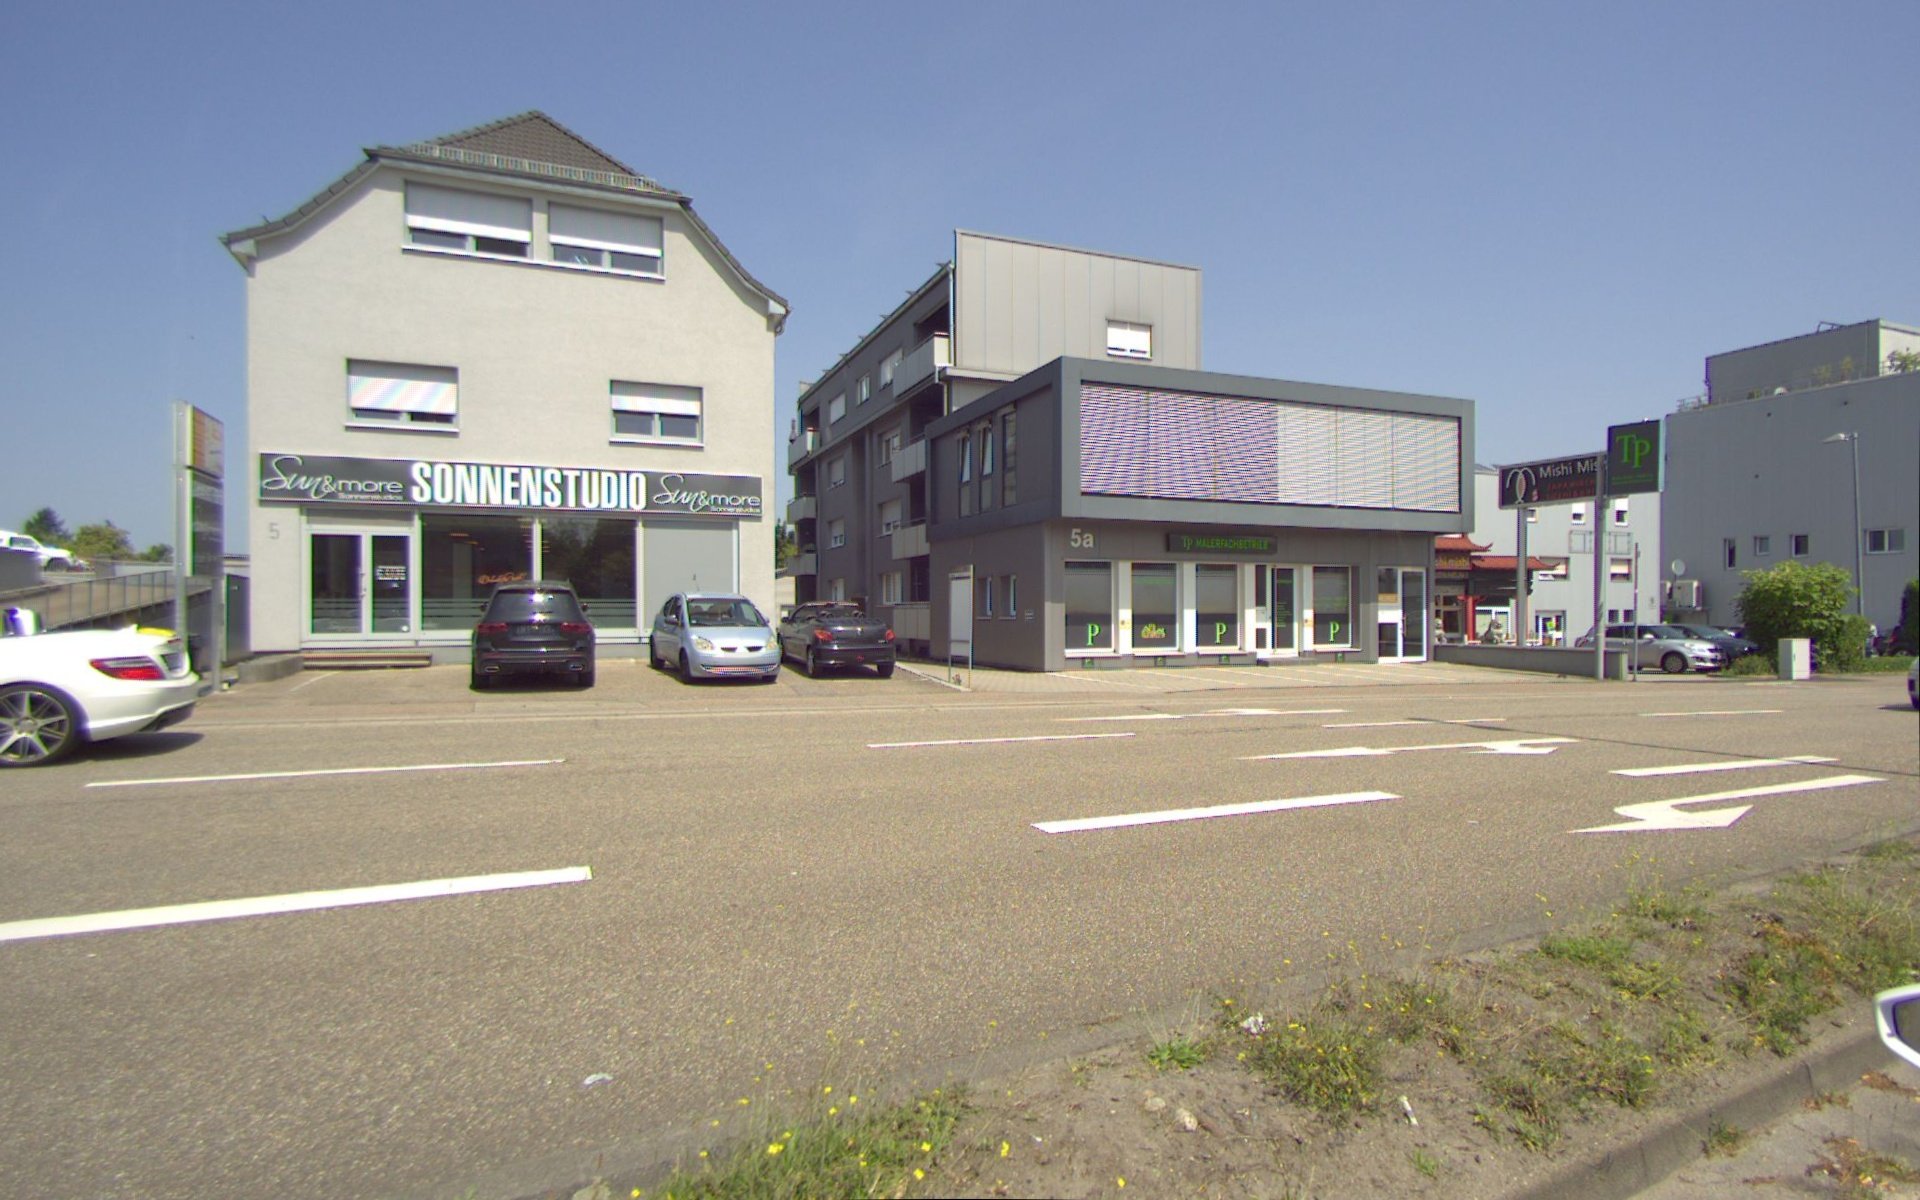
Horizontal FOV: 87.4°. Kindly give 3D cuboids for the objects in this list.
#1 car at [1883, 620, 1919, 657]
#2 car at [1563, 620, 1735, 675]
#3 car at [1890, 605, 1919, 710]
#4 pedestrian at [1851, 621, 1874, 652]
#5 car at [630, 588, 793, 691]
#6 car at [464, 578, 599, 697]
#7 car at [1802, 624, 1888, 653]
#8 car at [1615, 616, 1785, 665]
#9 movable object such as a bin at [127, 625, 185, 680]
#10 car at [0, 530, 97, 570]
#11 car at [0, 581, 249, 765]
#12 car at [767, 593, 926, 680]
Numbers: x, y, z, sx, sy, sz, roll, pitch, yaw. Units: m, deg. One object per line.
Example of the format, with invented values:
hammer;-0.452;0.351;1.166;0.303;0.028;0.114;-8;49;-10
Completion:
car;36.724;1.407;36.591;2.015;1.360;4.137;0;-2;-25
car;20.427;1.376;29.945;1.556;1.478;3.972;2;-2;-27
car;17.099;0.920;16.167;4.283;1.650;1.774;1;-2;-27
pedestrian;48.041;1.926;53.472;0.710;1.609;0.606;2;0;-24
car;-4.807;0.626;18.894;1.732;1.517;4.582;1;3;-30
car;-7.263;0.516;17.115;1.828;1.649;4.594;1;2;-23
car;47.888;2.105;54.363;3.943;1.390;1.989;2;0;-23
car;22.850;1.253;31.191;1.643;1.389;3.992;-1;-2;-20
movable object such as a bin;-21.629;1.400;27.056;1.010;1.404;1.170;2;0;-31
car;-40.831;-2.221;44.322;3.961;1.545;1.750;2;0;-36
car;-8.358;0.524;7.859;4.300;1.372;1.798;1;-1;-27
car;-2.417;0.676;20.434;1.973;1.541;4.043;1;0;-26
